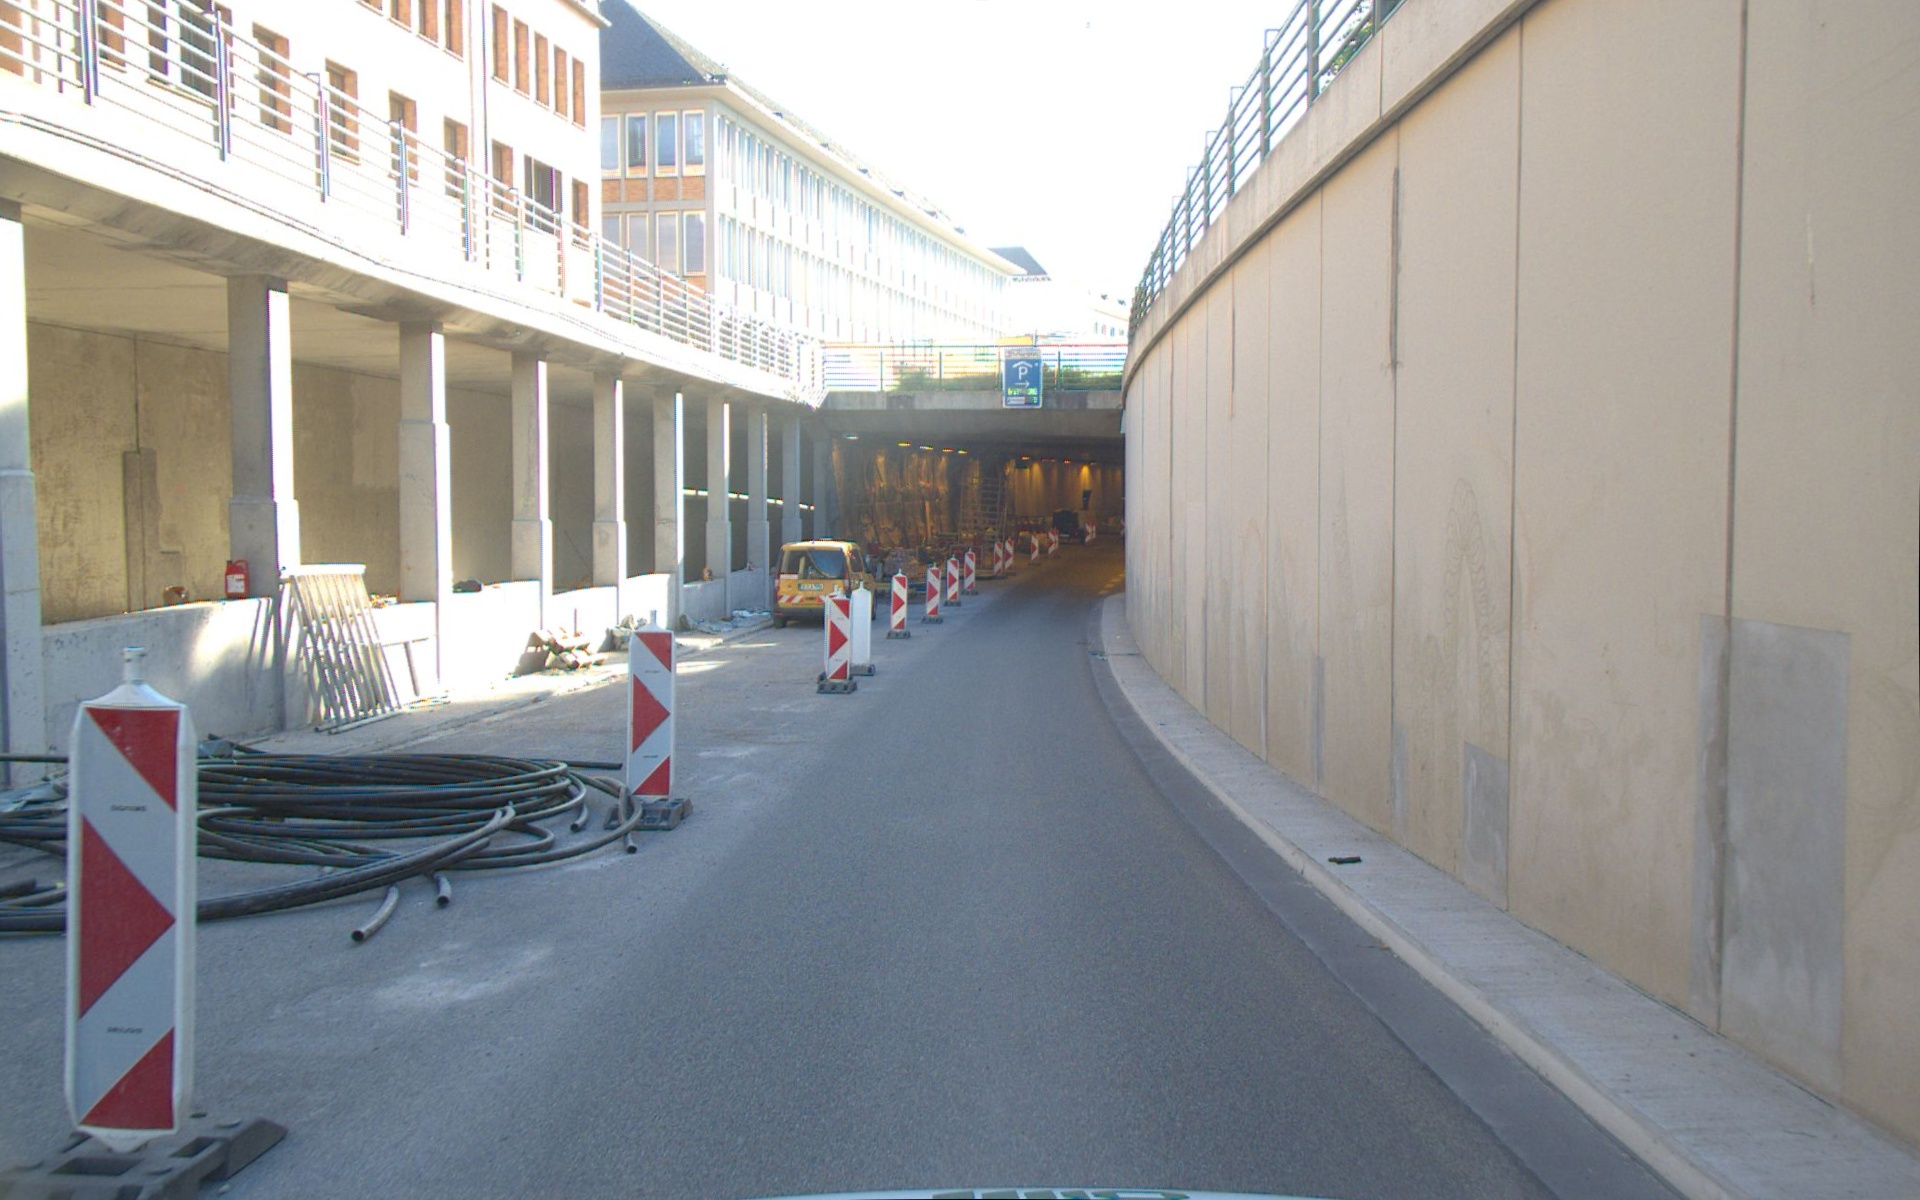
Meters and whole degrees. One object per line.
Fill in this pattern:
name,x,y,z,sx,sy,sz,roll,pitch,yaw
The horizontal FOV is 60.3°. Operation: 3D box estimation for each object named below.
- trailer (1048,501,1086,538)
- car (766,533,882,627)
trailer,5.602,-4.204,86.122,1.547,1.828,2.943,2,4,11
car,-2.889,-0.499,36.065,1.809,1.806,4.438,1,3,5
